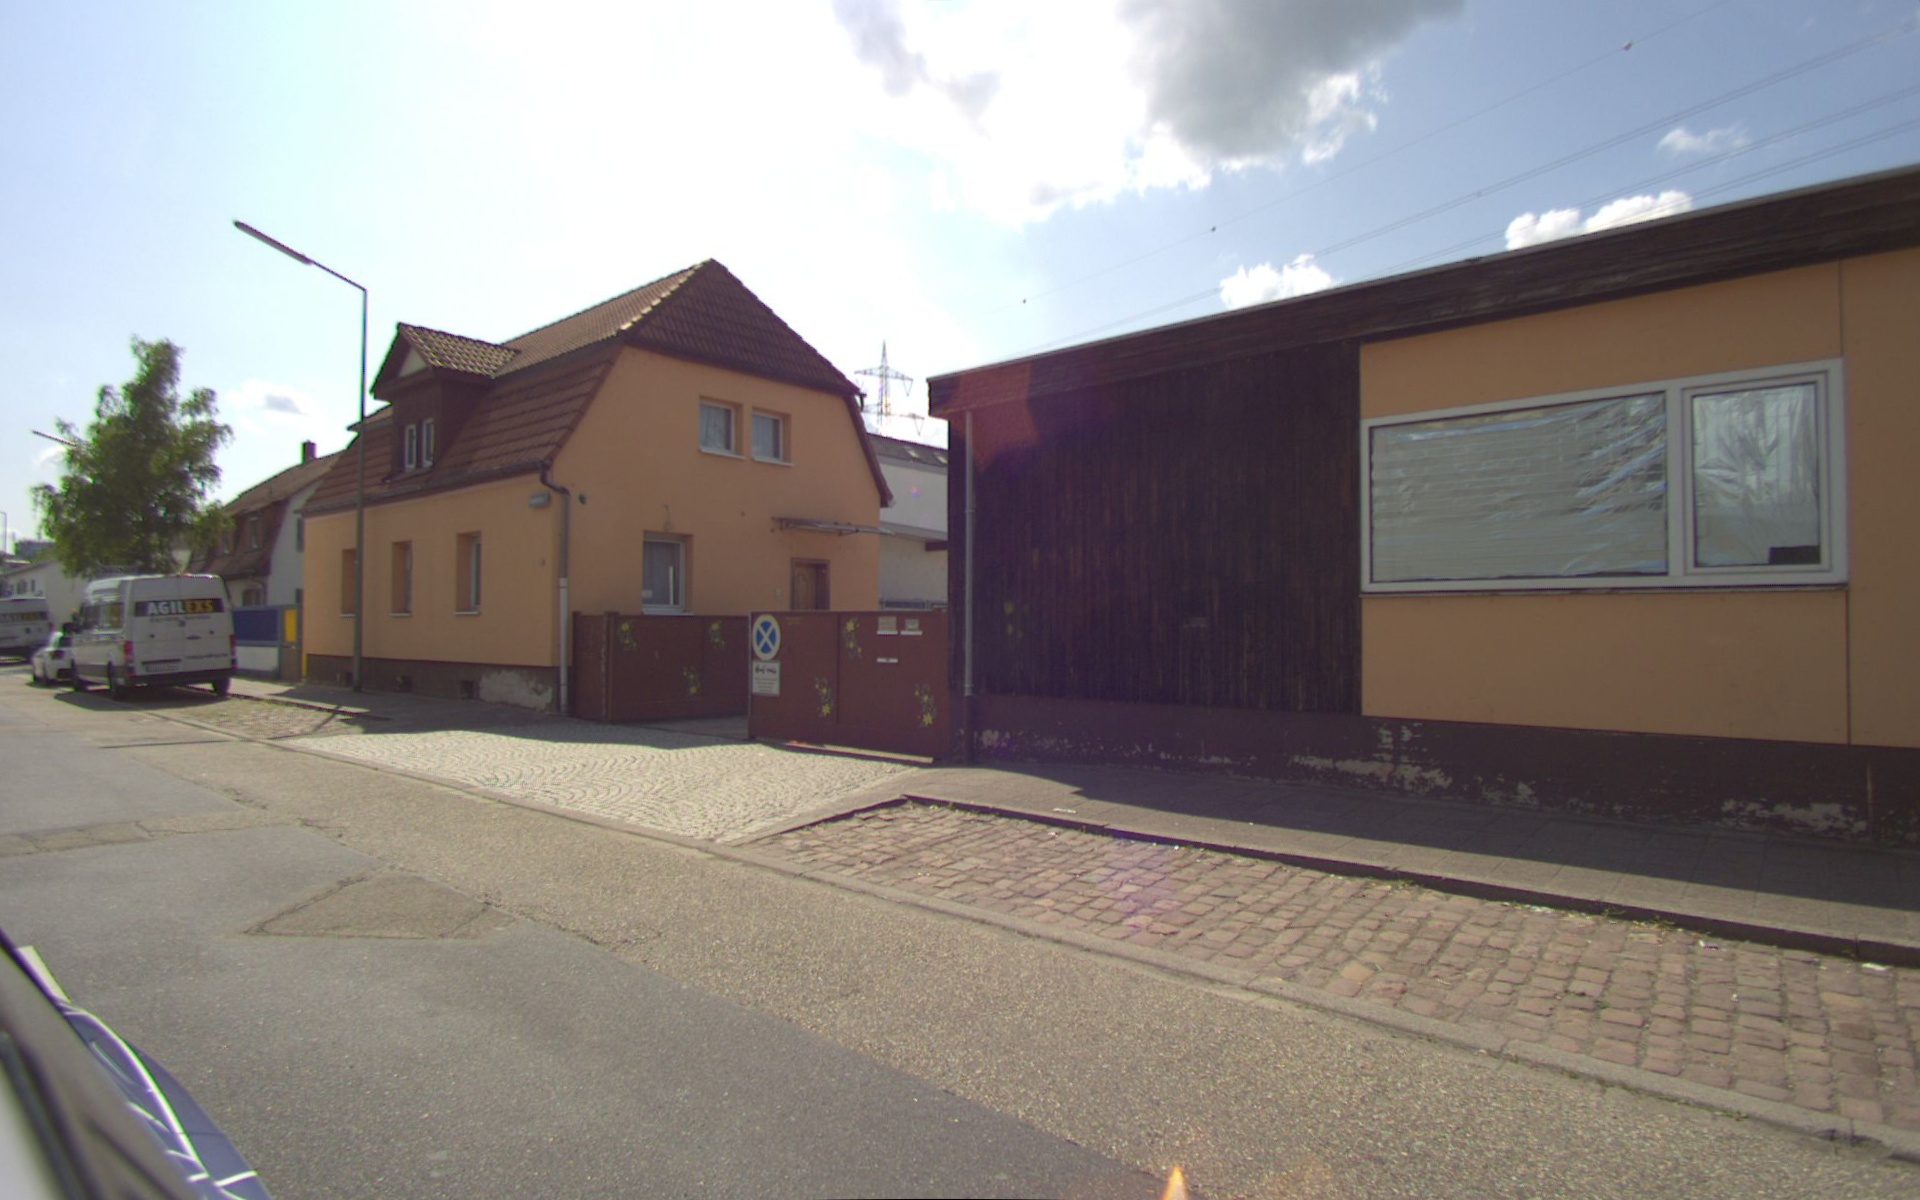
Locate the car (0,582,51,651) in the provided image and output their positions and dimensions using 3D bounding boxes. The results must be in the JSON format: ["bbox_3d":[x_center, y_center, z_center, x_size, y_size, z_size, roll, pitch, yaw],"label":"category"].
[{"bbox_3d":[-38.602,0.656,40.735,6.651,2.577,2.010,-1,0,40],"label":"car"}]

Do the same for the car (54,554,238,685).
[{"bbox_3d":[-18.579,0.416,22.940,6.835,2.581,2.006,-1,-1,40],"label":"car"}]

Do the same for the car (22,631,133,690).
[{"bbox_3d":[-23.974,1.575,27.432,4.501,1.408,1.777,-1,-1,42],"label":"car"}]
